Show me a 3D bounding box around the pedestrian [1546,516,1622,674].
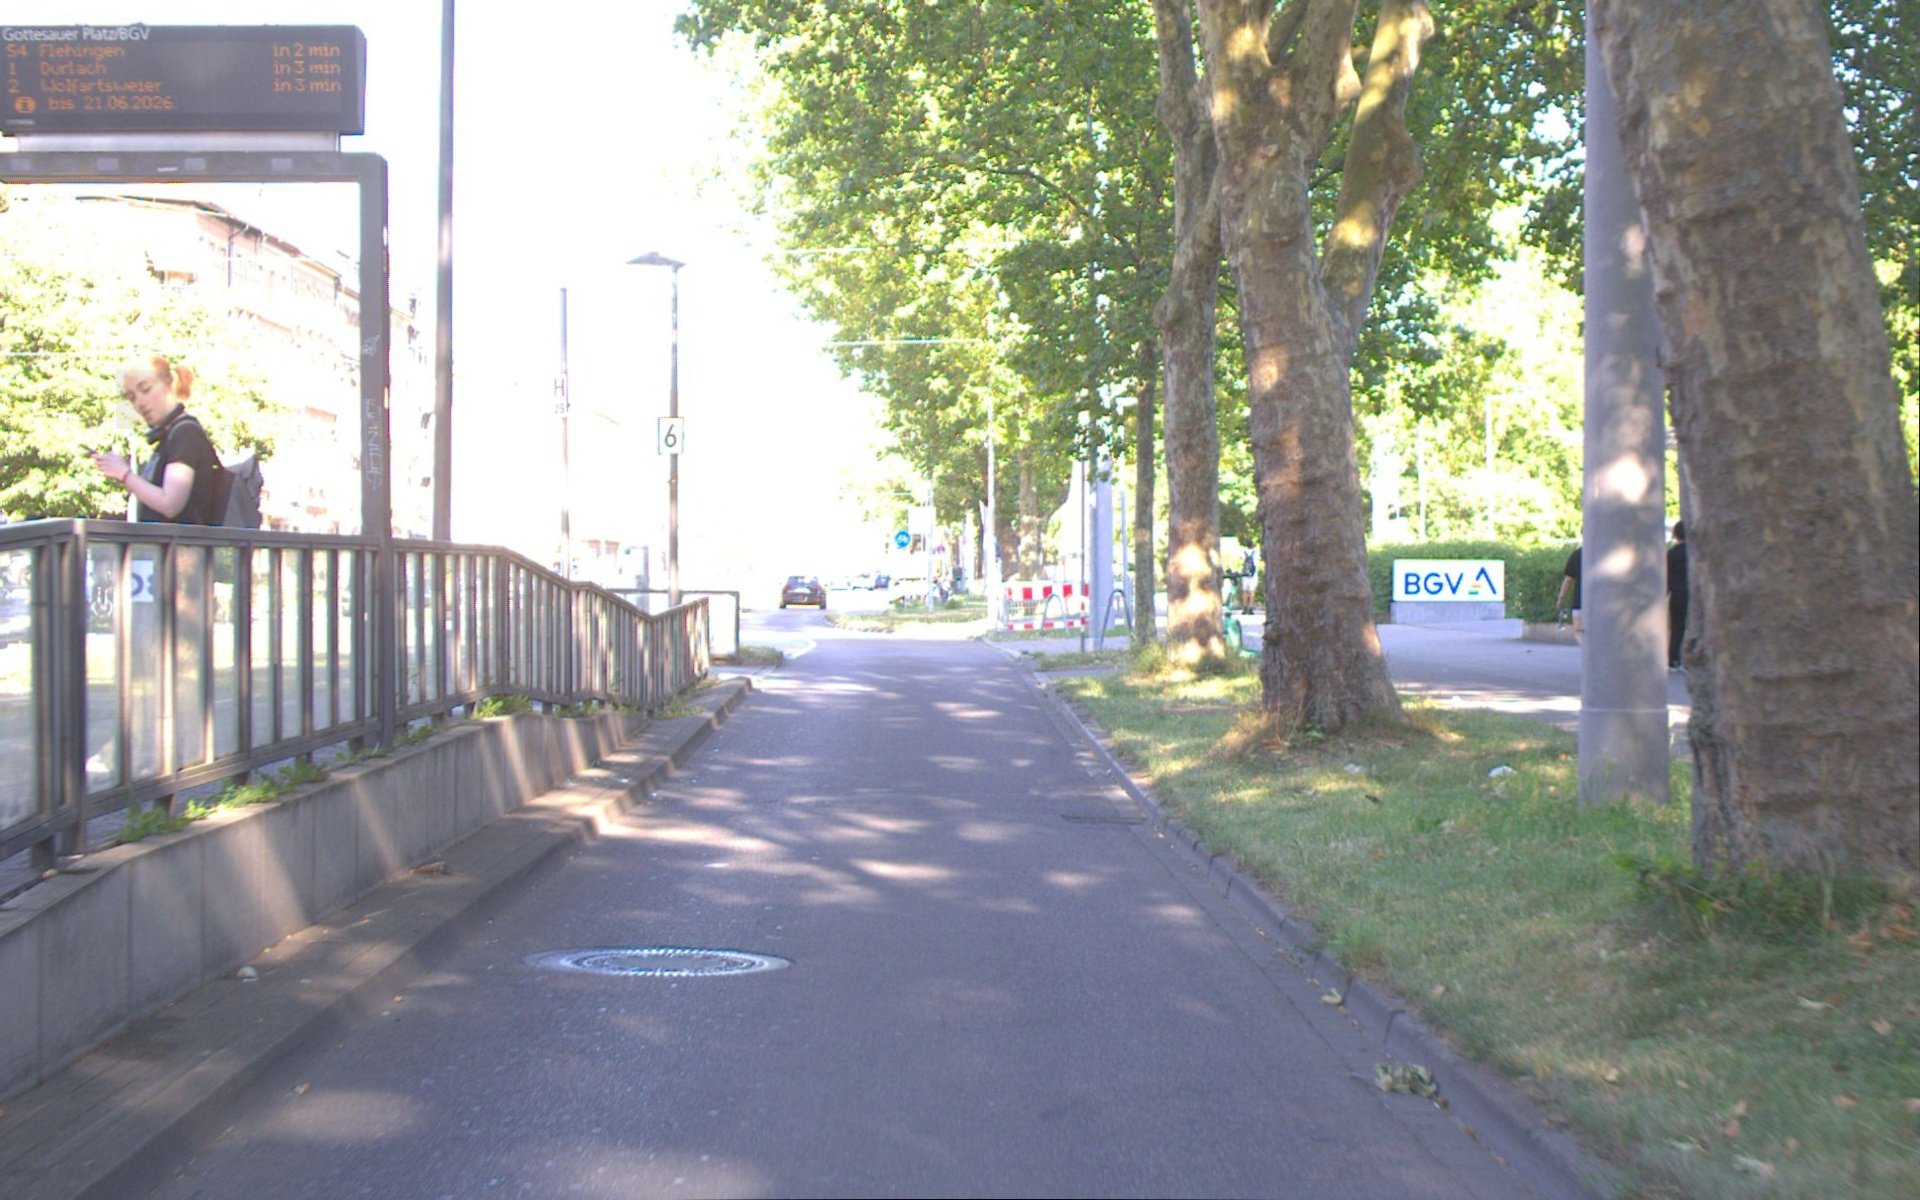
[{"bbox_3d":[6.629,-0.055,36.535,0.627,1.651,0.740,-1,0,-1],"label":"pedestrian"}]

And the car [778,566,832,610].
[{"bbox_3d":[-6.234,-0.502,138.584,1.993,1.678,4.000,2,0,-1],"label":"car"}]

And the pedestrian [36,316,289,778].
[{"bbox_3d":[-3.013,-0.199,13.043,0.757,1.684,0.678,2,0,-1],"label":"pedestrian"}]

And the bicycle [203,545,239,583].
[{"bbox_3d":[-23.388,-1.138,108.797,0.774,1.189,1.755,2,0,-1],"label":"bicycle"}]

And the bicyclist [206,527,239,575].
[{"bbox_3d":[-23.371,-1.540,108.926,0.774,1.476,1.134,2,0,-1],"label":"bicyclist"}]

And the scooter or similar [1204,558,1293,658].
[{"bbox_3d":[3.651,0.094,43.569,1.052,1.240,0.841,-1,0,2],"label":"scooter or similar"}]

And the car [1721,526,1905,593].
[{"bbox_3d":[23.543,-1.143,94.899,4.670,1.707,1.849,-2,2,-21],"label":"car"}]

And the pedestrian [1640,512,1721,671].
[{"bbox_3d":[7.623,-0.088,36.376,0.650,1.651,0.783,-1,0,-1],"label":"pedestrian"}]

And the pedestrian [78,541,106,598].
[{"bbox_3d":[-27.021,-0.944,107.001,0.650,1.769,0.888,-1,0,-2],"label":"pedestrian"}]

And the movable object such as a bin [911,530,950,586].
[{"bbox_3d":[-1.691,-2.384,195.372,1.968,3.003,4.797,-3,1,-1],"label":"movable object such as a bin"}]

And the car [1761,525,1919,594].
[{"bbox_3d":[24.042,-1.102,92.350,4.670,1.707,1.849,-2,2,-21],"label":"car"}]

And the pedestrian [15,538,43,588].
[{"bbox_3d":[-29.046,-1.163,107.212,0.650,1.534,0.783,-1,0,-2],"label":"pedestrian"}]

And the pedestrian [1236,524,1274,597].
[{"bbox_3d":[7.376,-0.983,85.956,0.805,1.787,1.110,-1,0,0],"label":"pedestrian"}]

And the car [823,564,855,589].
[{"bbox_3d":[-9.198,-1.803,260.558,1.993,1.853,4.001,2,0,-7],"label":"car"}]

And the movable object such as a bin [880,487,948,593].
[{"bbox_3d":[-2.341,-3.003,173.193,3.087,5.071,8.892,-3,1,-1],"label":"movable object such as a bin"}]

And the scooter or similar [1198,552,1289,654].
[{"bbox_3d":[3.515,0.035,42.675,1.052,1.240,0.841,-1,0,2],"label":"scooter or similar"}]

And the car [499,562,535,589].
[{"bbox_3d":[-26.909,-1.492,209.078,1.741,1.555,3.768,2,1,-1],"label":"car"}]

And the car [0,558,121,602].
[{"bbox_3d":[-31.309,-0.697,118.910,4.185,1.466,1.997,1,0,28],"label":"car"}]
